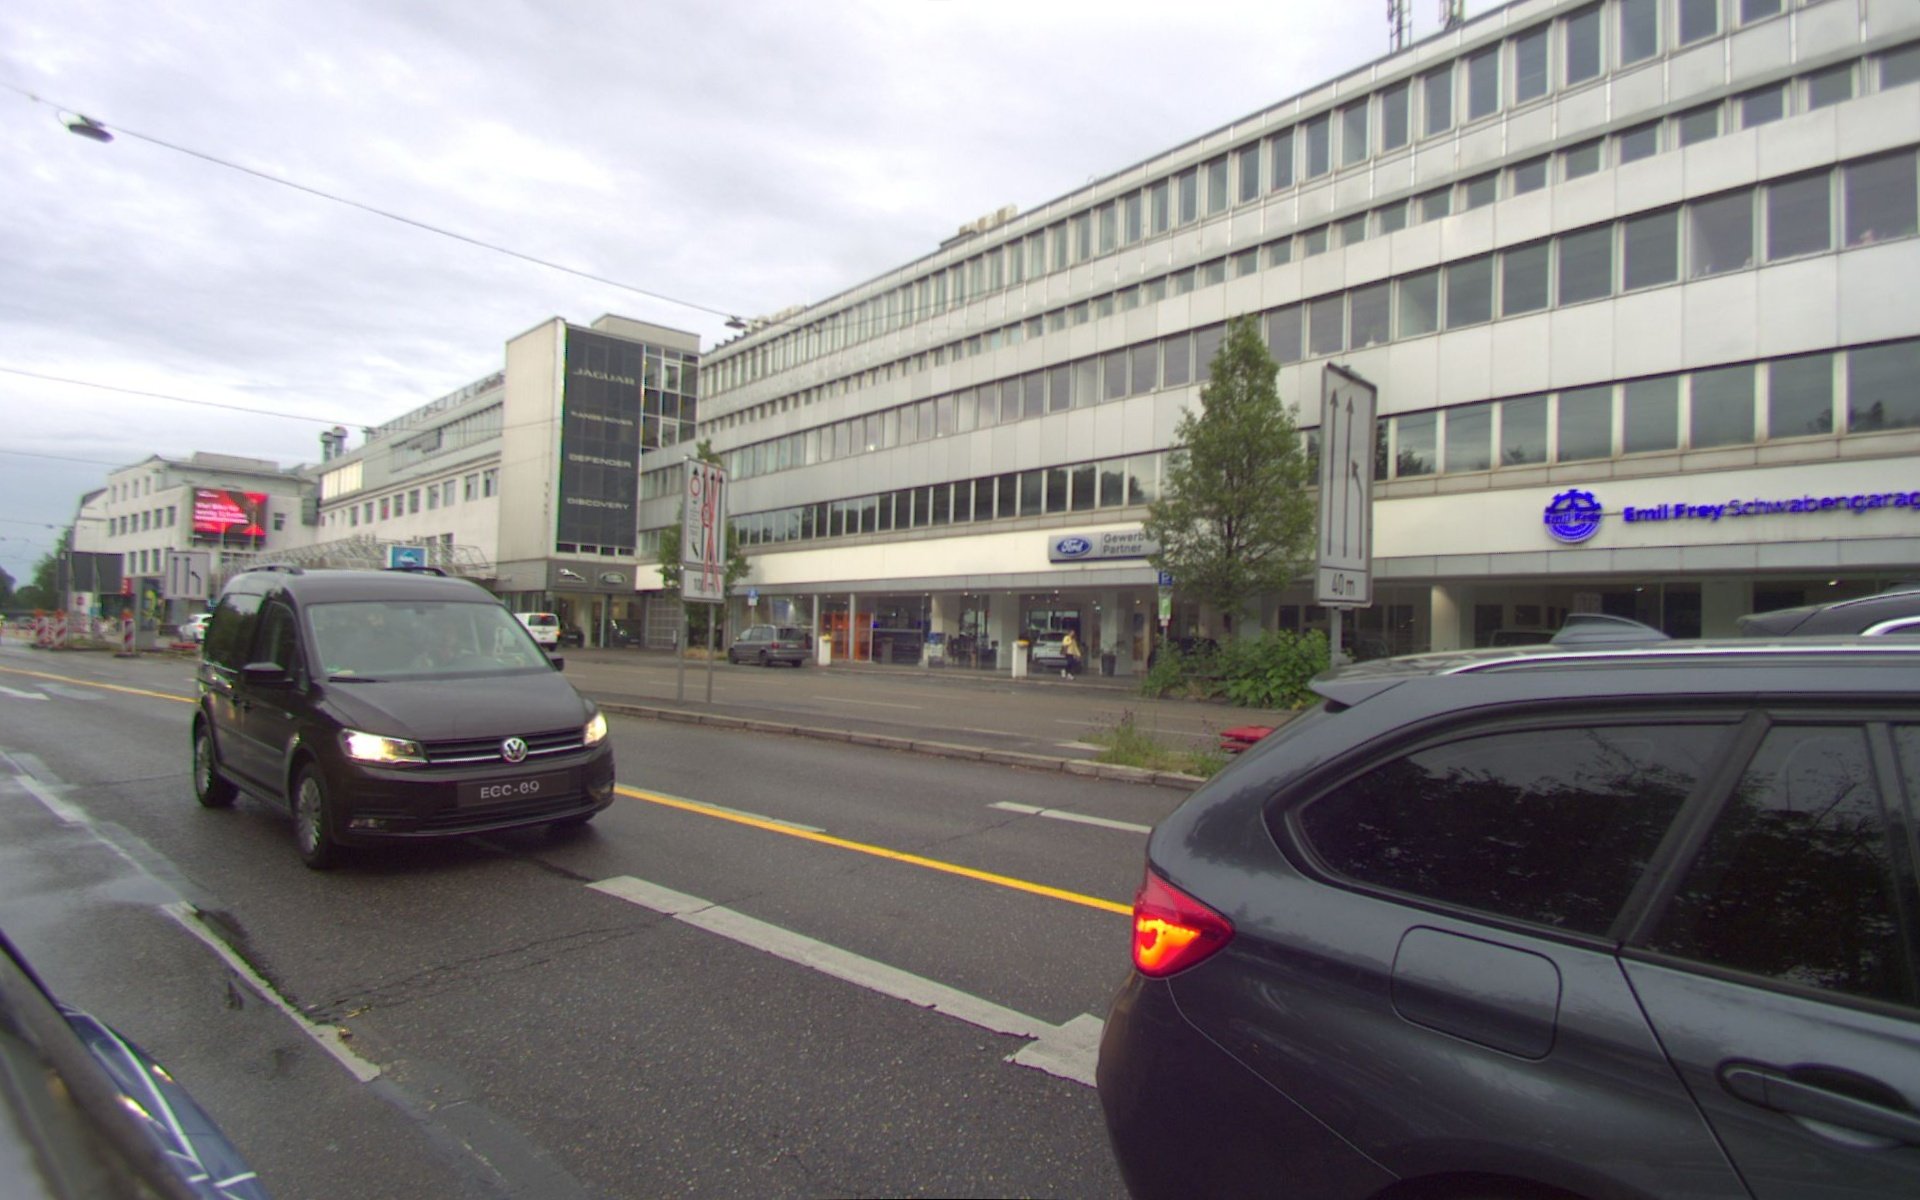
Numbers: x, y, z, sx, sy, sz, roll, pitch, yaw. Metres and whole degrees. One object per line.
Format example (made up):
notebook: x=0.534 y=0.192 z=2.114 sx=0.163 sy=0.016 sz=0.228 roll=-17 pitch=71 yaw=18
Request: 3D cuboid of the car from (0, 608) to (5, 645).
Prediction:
car: x=-44.425 y=1.209 z=45.581 sx=3.948 sy=1.629 sz=1.747 roll=-1 pitch=0 yaw=43

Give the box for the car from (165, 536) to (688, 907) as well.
car: x=-3.992 y=0.608 z=7.185 sx=4.429 sy=1.828 sz=1.880 roll=-1 pitch=0 yaw=42

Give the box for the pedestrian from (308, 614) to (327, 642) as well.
pedestrian: x=-42.214 y=1.811 z=66.496 sx=0.942 sy=1.828 sz=0.882 roll=-1 pitch=0 yaw=45

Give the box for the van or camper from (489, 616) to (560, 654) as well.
van or camper: x=-22.848 y=1.819 z=52.995 sx=1.912 sy=1.938 sz=4.689 roll=2 pitch=-3 yaw=-42

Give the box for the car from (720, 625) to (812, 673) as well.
car: x=-8.327 y=2.039 z=43.156 sx=1.895 sy=1.829 sz=4.169 roll=-1 pitch=0 yaw=-44

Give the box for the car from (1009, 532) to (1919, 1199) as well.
car: x=2.337 y=0.682 z=1.076 sx=4.476 sy=1.469 sz=1.757 roll=-1 pitch=-3 yaw=42

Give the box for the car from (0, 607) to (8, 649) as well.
car: x=-39.661 y=1.137 z=40.665 sx=4.333 sy=1.650 sz=1.747 roll=-1 pitch=0 yaw=43

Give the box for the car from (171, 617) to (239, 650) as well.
car: x=-38.534 y=1.714 z=51.659 sx=3.759 sy=1.544 sz=1.783 roll=-1 pitch=-6 yaw=38

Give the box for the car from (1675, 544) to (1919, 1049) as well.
car: x=4.908 y=0.627 z=2.917 sx=4.445 sy=1.668 sz=1.789 roll=-1 pitch=0 yaw=44

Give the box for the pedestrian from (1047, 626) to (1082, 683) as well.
pedestrian: x=3.431 y=1.775 z=33.186 sx=0.750 sy=1.788 sz=0.865 roll=-1 pitch=0 yaw=-42
